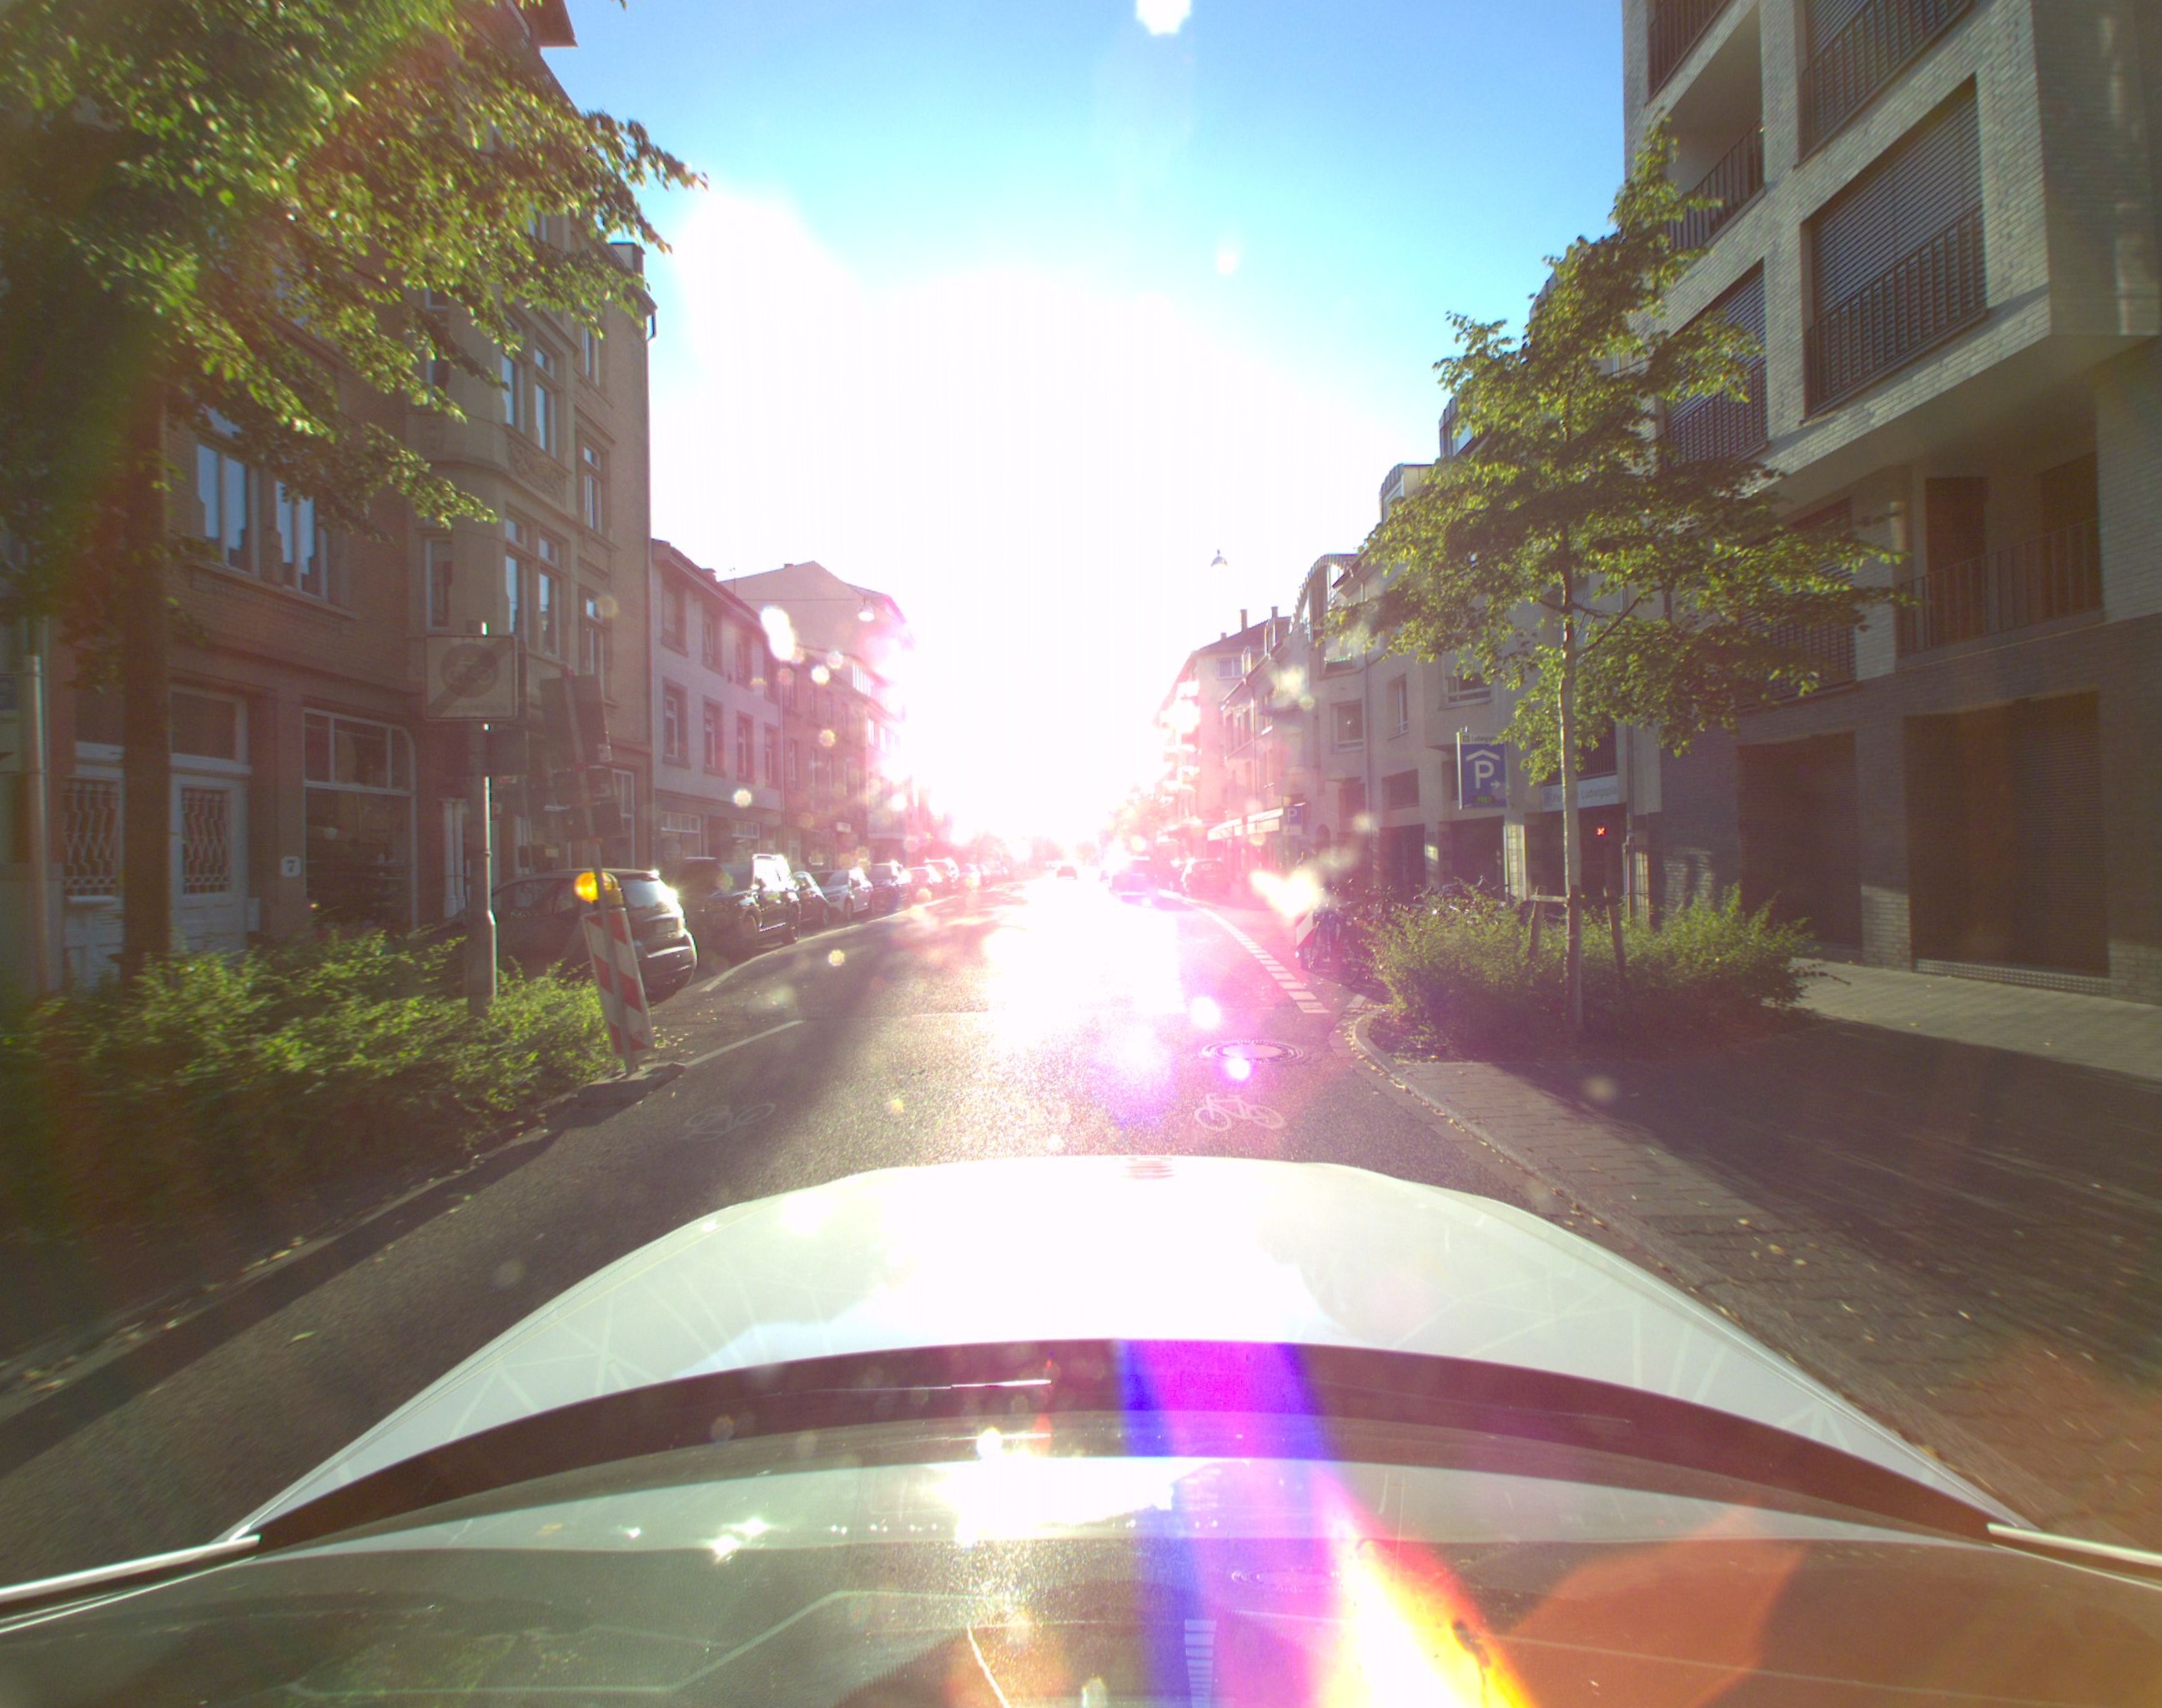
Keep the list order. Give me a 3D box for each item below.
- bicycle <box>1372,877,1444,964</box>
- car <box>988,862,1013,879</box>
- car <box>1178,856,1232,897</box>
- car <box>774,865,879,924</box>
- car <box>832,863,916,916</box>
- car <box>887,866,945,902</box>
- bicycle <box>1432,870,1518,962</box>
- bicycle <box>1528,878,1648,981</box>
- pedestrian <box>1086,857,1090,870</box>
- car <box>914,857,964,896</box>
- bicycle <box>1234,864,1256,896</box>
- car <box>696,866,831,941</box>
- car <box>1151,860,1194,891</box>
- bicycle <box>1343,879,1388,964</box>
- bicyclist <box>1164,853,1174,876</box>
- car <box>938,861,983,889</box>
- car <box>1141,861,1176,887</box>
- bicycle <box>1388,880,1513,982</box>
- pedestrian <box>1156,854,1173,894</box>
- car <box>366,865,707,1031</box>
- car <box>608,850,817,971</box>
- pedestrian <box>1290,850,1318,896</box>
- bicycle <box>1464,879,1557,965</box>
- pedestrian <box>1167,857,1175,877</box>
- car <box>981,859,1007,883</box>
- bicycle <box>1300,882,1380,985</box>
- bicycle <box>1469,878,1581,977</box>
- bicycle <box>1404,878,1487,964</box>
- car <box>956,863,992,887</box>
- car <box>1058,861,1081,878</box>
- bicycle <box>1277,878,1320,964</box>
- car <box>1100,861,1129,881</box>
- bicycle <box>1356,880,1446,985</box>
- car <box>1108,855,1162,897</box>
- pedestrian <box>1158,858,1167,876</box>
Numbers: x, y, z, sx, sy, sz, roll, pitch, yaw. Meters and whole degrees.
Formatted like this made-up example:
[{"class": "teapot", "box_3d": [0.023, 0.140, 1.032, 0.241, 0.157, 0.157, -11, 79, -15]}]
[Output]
[{"class": "bicycle", "box_3d": [4.582, 0.898, 11.493, 0.380, 1.100, 1.565, -2, 0, 1]}, {"class": "car", "box_3d": [-7.051, 1.435, 71.430, 1.828, 1.328, 4.121, -1, 0, -1]}, {"class": "car", "box_3d": [5.074, 0.892, 33.555, 1.629, 1.553, 2.691, -2, 0, -3]}, {"class": "car", "box_3d": [-7.272, 1.111, 23.708, 1.768, 1.515, 3.949, -1, 0, 0]}, {"class": "car", "box_3d": [-7.024, 1.145, 28.042, 1.768, 1.633, 4.237, -1, 0, 0]}, {"class": "car", "box_3d": [-7.391, 1.302, 36.889, 1.708, 1.440, 4.308, -3, 0, 0]}, {"class": "bicycle", "box_3d": [5.521, 0.829, 11.499, 0.381, 1.189, 1.521, 0, -1, -4]}, {"class": "bicycle", "box_3d": [6.066, 0.864, 9.827, 0.381, 1.100, 1.521, -2, 0, -4]}, {"class": "pedestrian", "box_3d": [0.953, 1.327, 111.559, 0.496, 1.715, 0.459, -1, 0, -20]}, {"class": "car", "box_3d": [-7.454, 1.145, 43.349, 1.823, 1.810, 5.344, -3, 0, -2]}, {"class": "bicycle", "box_3d": [6.619, 1.019, 32.887, 0.396, 1.234, 1.823, -2, 0, -3]}, {"class": "car", "box_3d": [-7.381, 1.089, 19.283, 1.768, 1.515, 3.484, -2, 0, 0]}, {"class": "car", "box_3d": [4.489, 1.028, 40.331, 1.628, 1.424, 3.756, -2, -1, -1]}, {"class": "bicycle", "box_3d": [4.087, 0.938, 11.763, 0.368, 1.108, 1.528, -2, 0, 11]}, {"class": "bicyclist", "box_3d": [6.684, 0.800, 61.968, 0.648, 1.702, 1.096, -2, -1, 2]}, {"class": "car", "box_3d": [-7.327, 1.240, 49.981, 1.821, 1.556, 5.135, -3, 0, 0]}, {"class": "car", "box_3d": [4.519, 1.149, 48.108, 1.698, 1.436, 3.931, -1, -1, 0]}, {"class": "bicycle", "box_3d": [4.419, 0.888, 9.856, 0.383, 1.100, 1.512, -1, -1, -21]}, {"class": "pedestrian", "box_3d": [3.517, 0.830, 34.339, 0.444, 1.665, 0.561, -2, -1, -25]}, {"class": "car", "box_3d": [-5.981, 0.976, 9.221, 2.689, 1.520, 1.570, -3, 1, -4]}, {"class": "car", "box_3d": [-6.343, 0.887, 14.716, 1.901, 1.728, 4.694, -3, -1, -5]}, {"class": "pedestrian", "box_3d": [8.145, 0.693, 29.760, 0.807, 1.646, 0.606, -3, -2, 1]}, {"class": "bicycle", "box_3d": [5.963, 0.909, 11.387, 0.381, 1.100, 1.521, -2, -1, -4]}, {"class": "pedestrian", "box_3d": [7.942, 1.127, 71.815, 0.684, 1.721, 0.717, -2, -1, 5]}, {"class": "car", "box_3d": [-6.972, 1.357, 65.372, 1.829, 1.854, 4.118, -1, -1, -4]}, {"class": "bicycle", "box_3d": [3.119, 0.918, 9.909, 0.381, 1.100, 1.521, -2, 0, -3]}, {"class": "bicycle", "box_3d": [5.494, 0.872, 10.162, 0.381, 1.100, 1.519, -2, 0, -7]}, {"class": "bicycle", "box_3d": [5.099, 0.907, 11.467, 0.381, 1.100, 1.521, -1, -1, -3]}, {"class": "car", "box_3d": [-7.283, 1.424, 55.951, 1.821, 1.439, 4.552, -4, -1, 0]}, {"class": "car", "box_3d": [-0.984, 1.322, 71.659, 1.877, 1.415, 4.324, -1, -1, 0]}, {"class": "bicycle", "box_3d": [3.142, 0.930, 11.842, 0.360, 1.141, 1.568, -2, -1, 8]}, {"class": "car", "box_3d": [2.419, 1.223, 59.277, 1.916, 1.415, 4.547, 1, -1, 0]}, {"class": "bicycle", "box_3d": [3.766, 0.887, 9.690, 0.381, 1.100, 1.521, -1, 0, -3]}, {"class": "car", "box_3d": [2.205, 0.885, 34.619, 1.988, 1.655, 4.673, 0, -1, 0]}, {"class": "pedestrian", "box_3d": [7.200, 1.144, 71.910, 0.686, 1.559, 0.862, -2, -1, 0]}]
